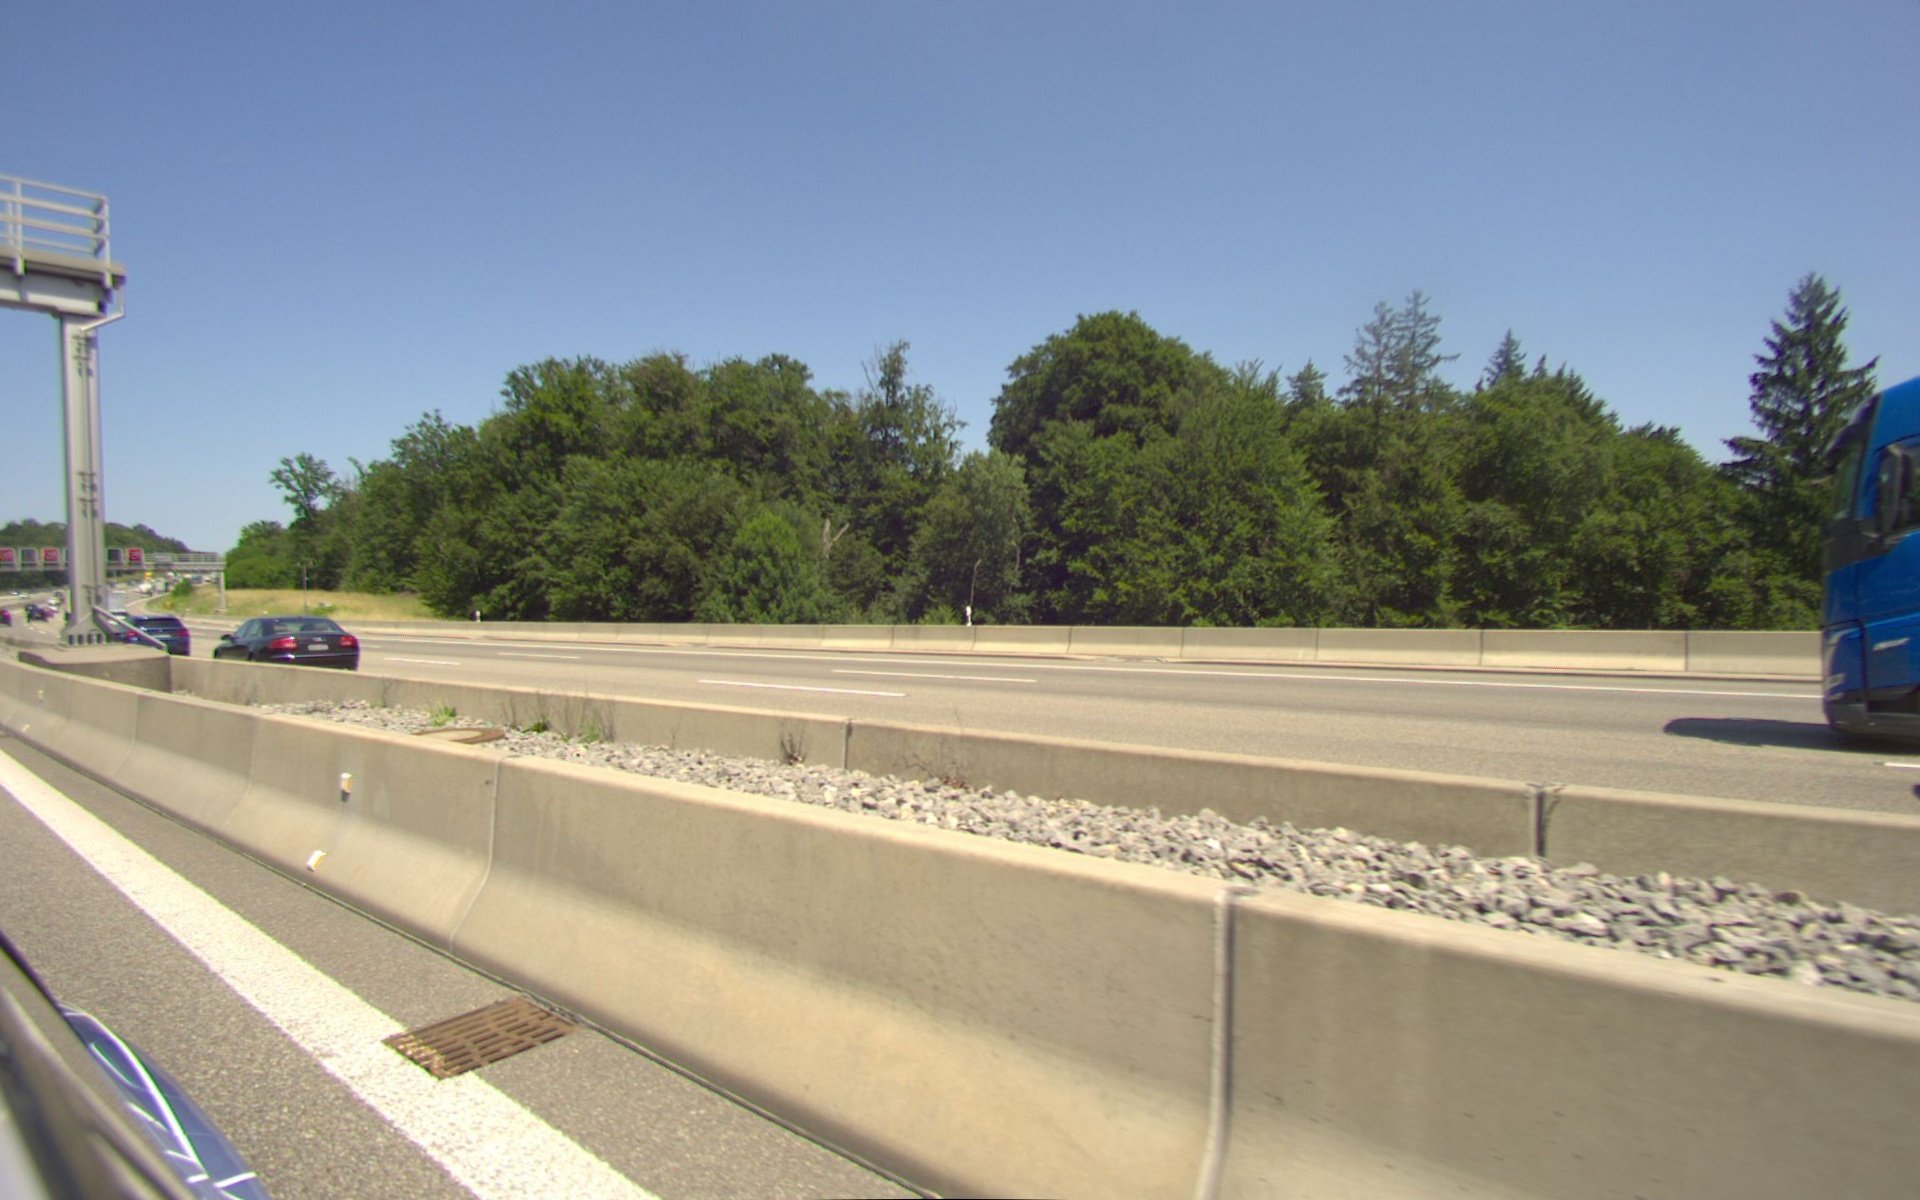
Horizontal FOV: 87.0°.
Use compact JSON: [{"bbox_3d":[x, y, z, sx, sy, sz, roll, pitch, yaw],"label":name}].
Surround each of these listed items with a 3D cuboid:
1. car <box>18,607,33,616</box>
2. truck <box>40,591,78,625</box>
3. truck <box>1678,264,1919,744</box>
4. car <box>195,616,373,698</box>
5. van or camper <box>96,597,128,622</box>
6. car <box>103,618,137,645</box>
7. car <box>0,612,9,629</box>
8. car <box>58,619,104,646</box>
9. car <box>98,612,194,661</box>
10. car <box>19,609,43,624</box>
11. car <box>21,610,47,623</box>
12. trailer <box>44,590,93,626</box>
[{"bbox_3d":[-169.016,2.082,183.099,1.970,1.602,4.849,0,0,-43],"label":"car"},{"bbox_3d":[-116.200,0.992,130.528,6.450,4.322,2.846,-1,0,41],"label":"truck"},{"bbox_3d":[10.557,-0.894,9.544,5.874,4.208,3.748,-1,1,40],"label":"truck"},{"bbox_3d":[-14.581,1.134,21.696,5.131,1.530,1.936,-1,-1,42],"label":"car"},{"bbox_3d":[-118.528,1.274,141.432,2.733,3.148,8.100,-1,2,-44],"label":"van or camper"},{"bbox_3d":[-71.626,2.648,86.269,1.970,2.029,4.004,-1,2,-43],"label":"car"},{"bbox_3d":[-93.848,1.985,98.273,4.436,1.680,1.971,-1,-1,44],"label":"car"},{"bbox_3d":[-58.241,2.154,67.013,4.636,1.647,1.736,-2,-1,42],"label":"car"},{"bbox_3d":[-27.777,1.185,34.474,4.520,1.530,1.834,0,0,42],"label":"car"},{"bbox_3d":[-106.747,1.872,116.292,4.363,1.531,1.742,1,2,43],"label":"car"},{"bbox_3d":[-128.422,2.268,140.293,5.030,1.741,2.262,0,0,42],"label":"car"},{"bbox_3d":[-111.307,1.044,126.290,13.953,4.294,2.834,0,0,41],"label":"trailer"}]
